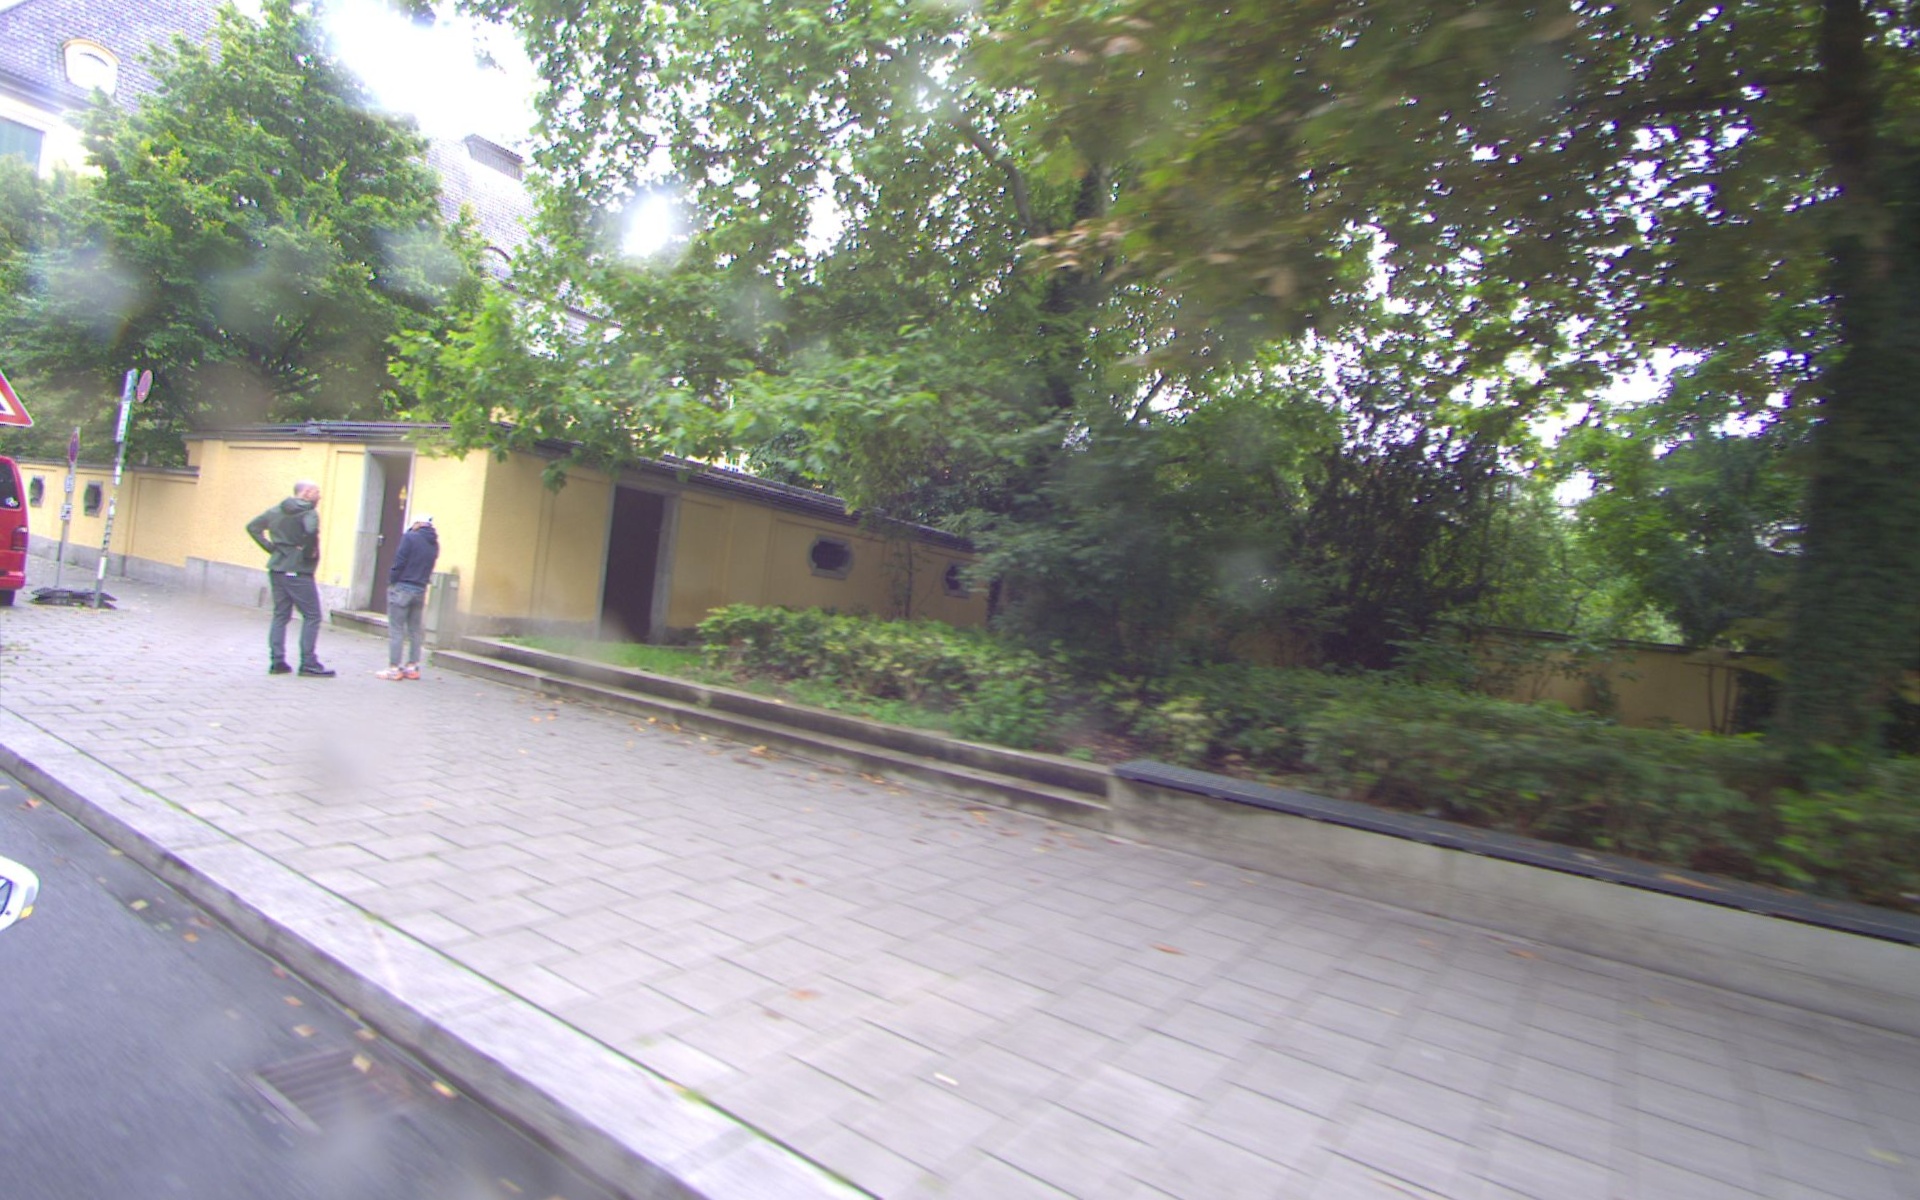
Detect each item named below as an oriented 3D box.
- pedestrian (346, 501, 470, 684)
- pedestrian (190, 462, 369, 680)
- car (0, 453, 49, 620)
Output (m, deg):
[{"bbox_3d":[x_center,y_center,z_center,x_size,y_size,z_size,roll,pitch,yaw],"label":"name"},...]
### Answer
[{"bbox_3d":[-5.440,-0.066,9.944,0.684,1.688,0.635,7,1,12],"label":"pedestrian"},{"bbox_3d":[-6.351,-0.258,9.437,0.934,1.859,0.822,7,1,7],"label":"pedestrian"},{"bbox_3d":[-13.793,-1.040,12.810,4.888,1.960,1.913,7,0,33],"label":"car"}]
